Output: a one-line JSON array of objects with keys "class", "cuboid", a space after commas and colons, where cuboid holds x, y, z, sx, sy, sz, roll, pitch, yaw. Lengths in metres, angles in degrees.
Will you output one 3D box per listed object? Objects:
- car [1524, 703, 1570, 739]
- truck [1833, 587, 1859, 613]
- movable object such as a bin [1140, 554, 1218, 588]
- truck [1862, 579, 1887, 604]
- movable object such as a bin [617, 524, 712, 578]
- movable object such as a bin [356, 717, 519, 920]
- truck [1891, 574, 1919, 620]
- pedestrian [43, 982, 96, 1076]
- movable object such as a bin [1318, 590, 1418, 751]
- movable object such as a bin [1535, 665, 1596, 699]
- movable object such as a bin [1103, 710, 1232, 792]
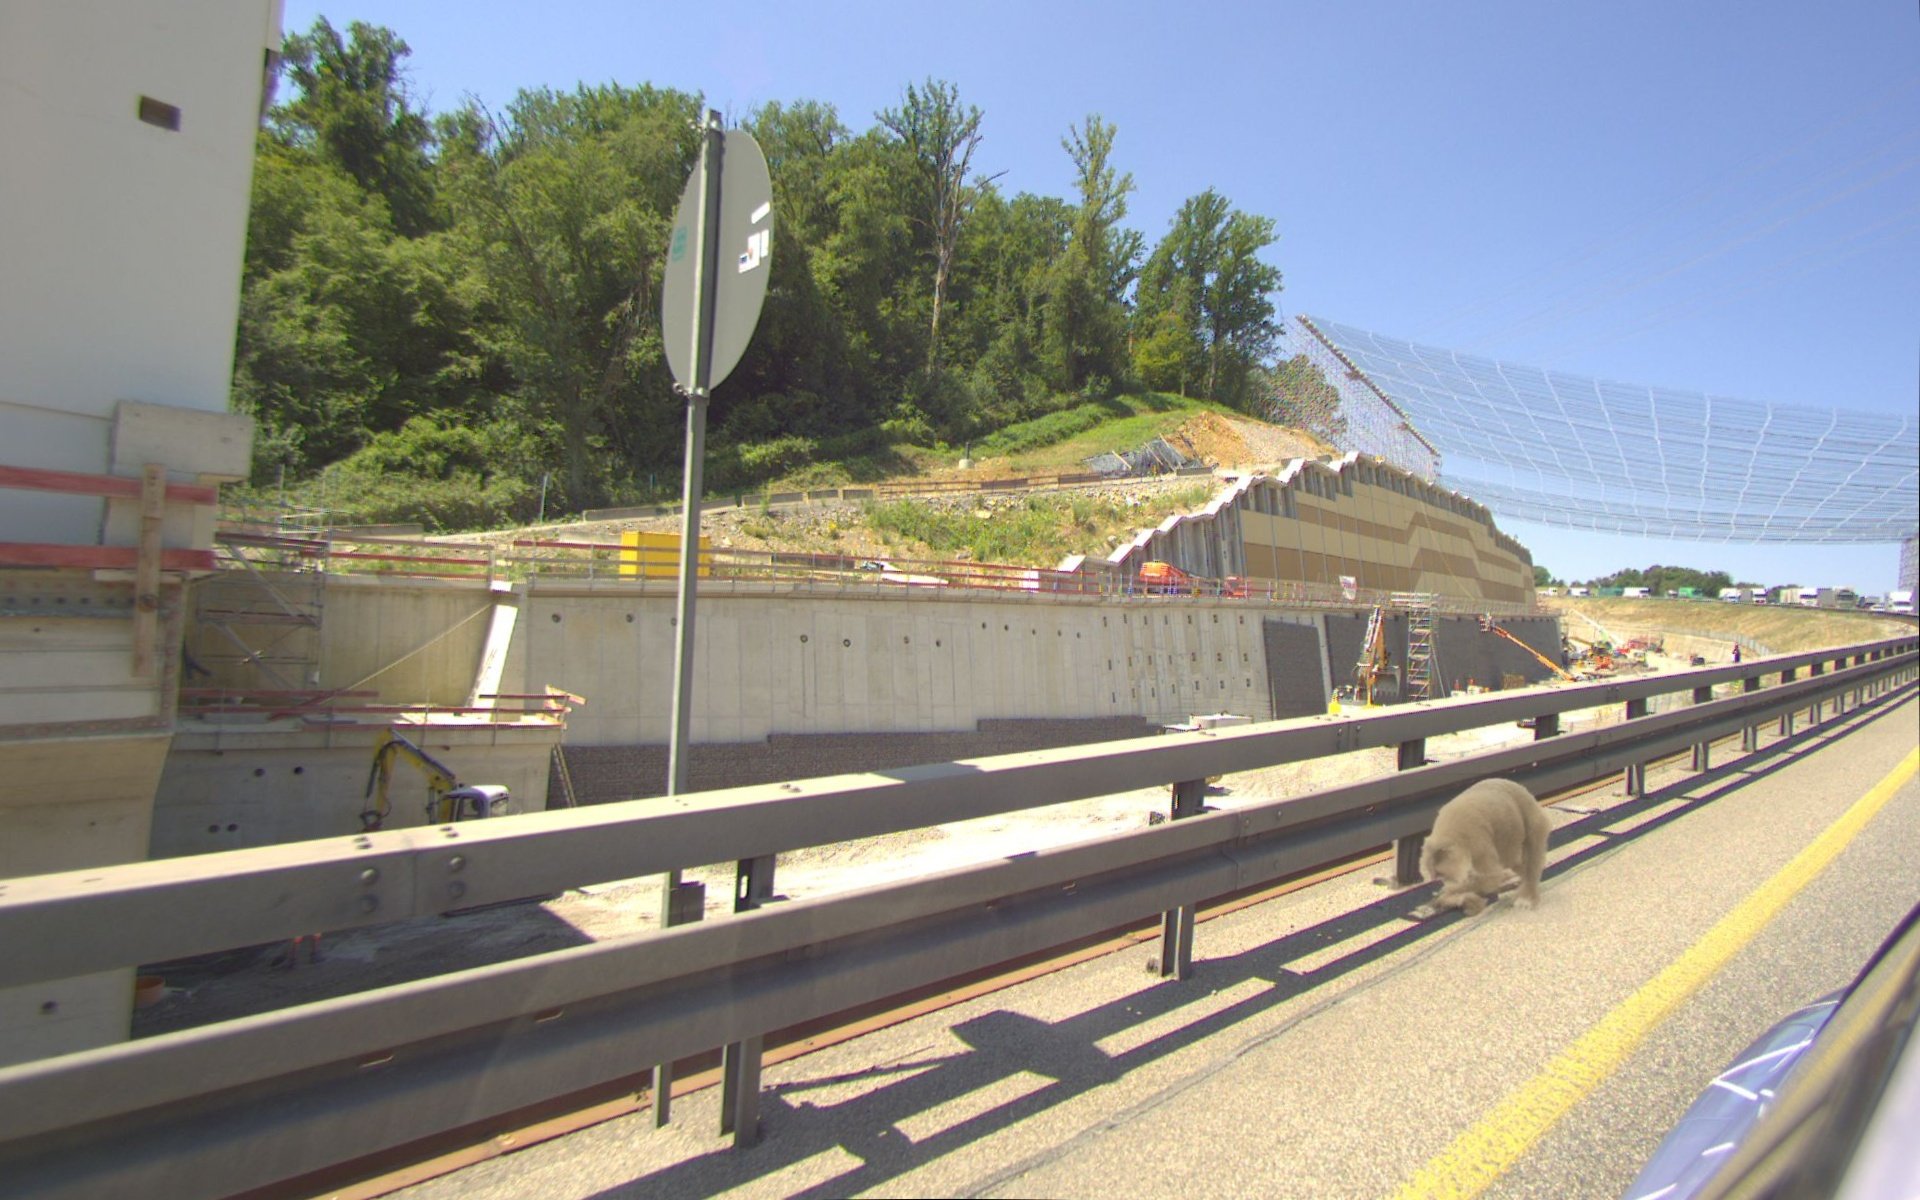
[{"class": "car", "cuboid": [41.628, 8.553, 71.790, 1.993, 2.039, 3.938, 0, 0, 43]}, {"class": "truck", "cuboid": [147.210, -0.051, 168.120, 3.033, 4.107, 8.541, 0, 0, 43]}, {"class": "movable object such as a bin", "cuboid": [13.655, -1.763, 62.924, 5.263, 2.039, 2.078, -1, 0, -42]}, {"class": "truck", "cuboid": [161.138, -1.495, 178.362, 3.031, 4.314, 8.808, 0, 0, 42]}, {"class": "movable object such as a bin", "cuboid": [-11.875, -1.935, 40.637, 3.110, 1.940, 2.333, 1, -1, -33]}, {"class": "movable object such as a bin", "cuboid": [-11.850, 4.773, 22.958, 2.776, 3.869, 2.329, 2, -1, -41]}, {"class": "truck", "cuboid": [103.441, -0.351, 110.099, 3.033, 4.866, 8.802, 0, 0, 43]}, {"class": "pedestrian", "cuboid": [-12.457, 5.987, 14.155, 0.544, 1.031, 0.339, 0, 0, -44]}, {"class": "movable object such as a bin", "cuboid": [20.280, 3.225, 50.110, 2.920, 7.445, 6.152, 0, 0, 39]}, {"class": "movable object such as a bin", "cuboid": [57.343, 7.739, 95.978, 2.176, 2.669, 5.505, 0, 0, -4]}, {"class": "movable object such as a bin", "cuboid": [8.521, 6.135, 41.908, 2.022, 2.625, 5.117, 1, -1, -39]}]
